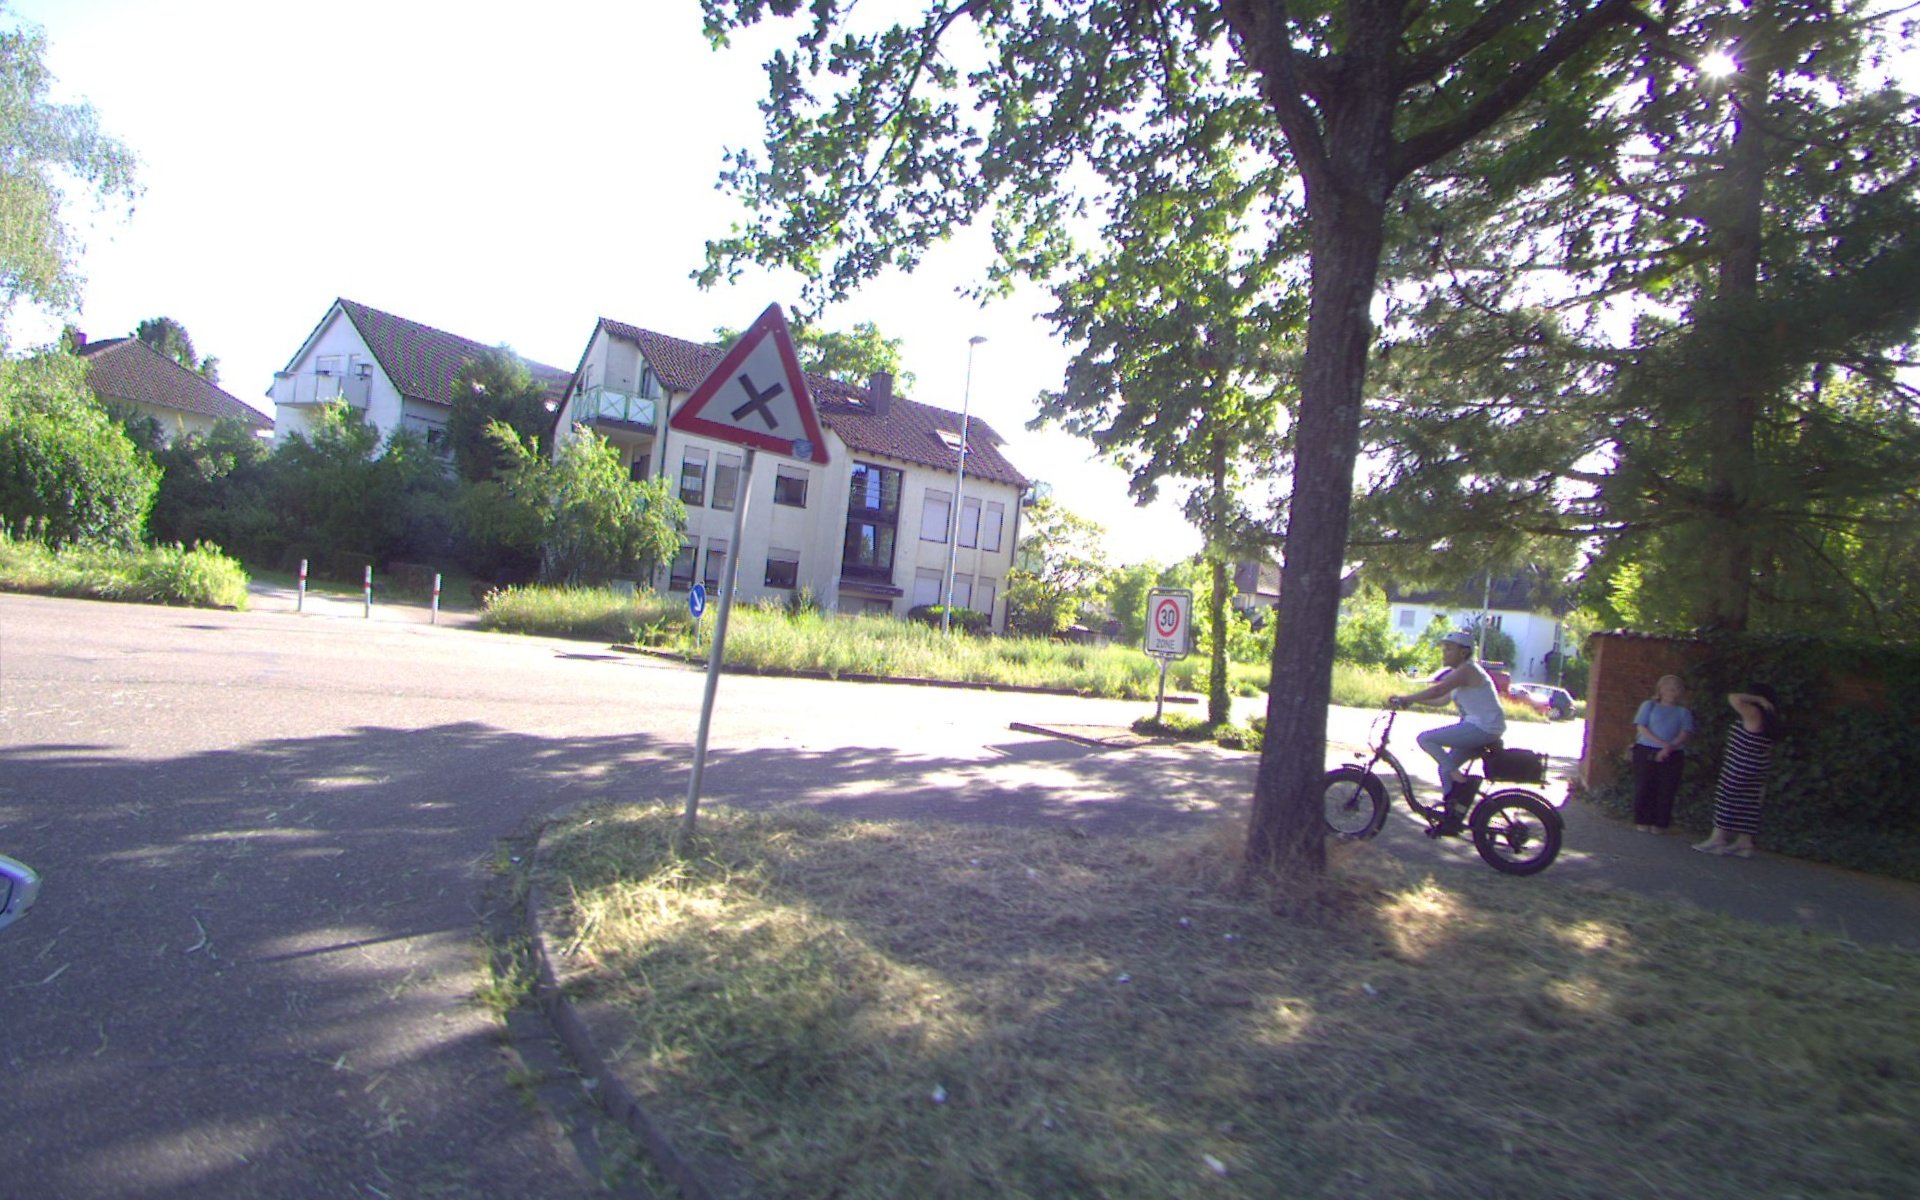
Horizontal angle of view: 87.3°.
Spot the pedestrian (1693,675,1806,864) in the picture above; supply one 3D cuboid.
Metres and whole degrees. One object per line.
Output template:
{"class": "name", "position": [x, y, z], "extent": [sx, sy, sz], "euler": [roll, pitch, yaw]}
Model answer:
{"class": "pedestrian", "position": [7.056, 1.497, 9.009], "extent": [0.528, 1.580, 0.396], "euler": [6, 1, 10]}

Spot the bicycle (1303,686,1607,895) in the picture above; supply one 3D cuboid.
{"class": "bicycle", "position": [3.632, 1.358, 7.512], "extent": [1.864, 1.159, 0.458], "euler": [7, 1, 26]}

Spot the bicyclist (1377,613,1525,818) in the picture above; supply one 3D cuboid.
{"class": "bicyclist", "position": [3.665, 0.833, 7.543], "extent": [0.823, 1.364, 0.638], "euler": [6, 1, 26]}

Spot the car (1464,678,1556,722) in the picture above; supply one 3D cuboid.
{"class": "car", "position": [24.204, 4.366, 44.281], "extent": [3.339, 1.459, 1.612], "euler": [6, 0, 33]}

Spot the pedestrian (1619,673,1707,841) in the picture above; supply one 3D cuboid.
{"class": "pedestrian", "position": [6.862, 1.512, 9.839], "extent": [0.529, 1.539, 0.395], "euler": [6, 1, 31]}

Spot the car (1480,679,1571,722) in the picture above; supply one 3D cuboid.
{"class": "car", "position": [26.024, 4.598, 46.300], "extent": [3.478, 1.434, 1.676], "euler": [6, 0, 33]}

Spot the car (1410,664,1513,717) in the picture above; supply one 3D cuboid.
{"class": "car", "position": [21.326, 3.826, 42.930], "extent": [3.582, 1.738, 1.749], "euler": [6, 0, 19]}
